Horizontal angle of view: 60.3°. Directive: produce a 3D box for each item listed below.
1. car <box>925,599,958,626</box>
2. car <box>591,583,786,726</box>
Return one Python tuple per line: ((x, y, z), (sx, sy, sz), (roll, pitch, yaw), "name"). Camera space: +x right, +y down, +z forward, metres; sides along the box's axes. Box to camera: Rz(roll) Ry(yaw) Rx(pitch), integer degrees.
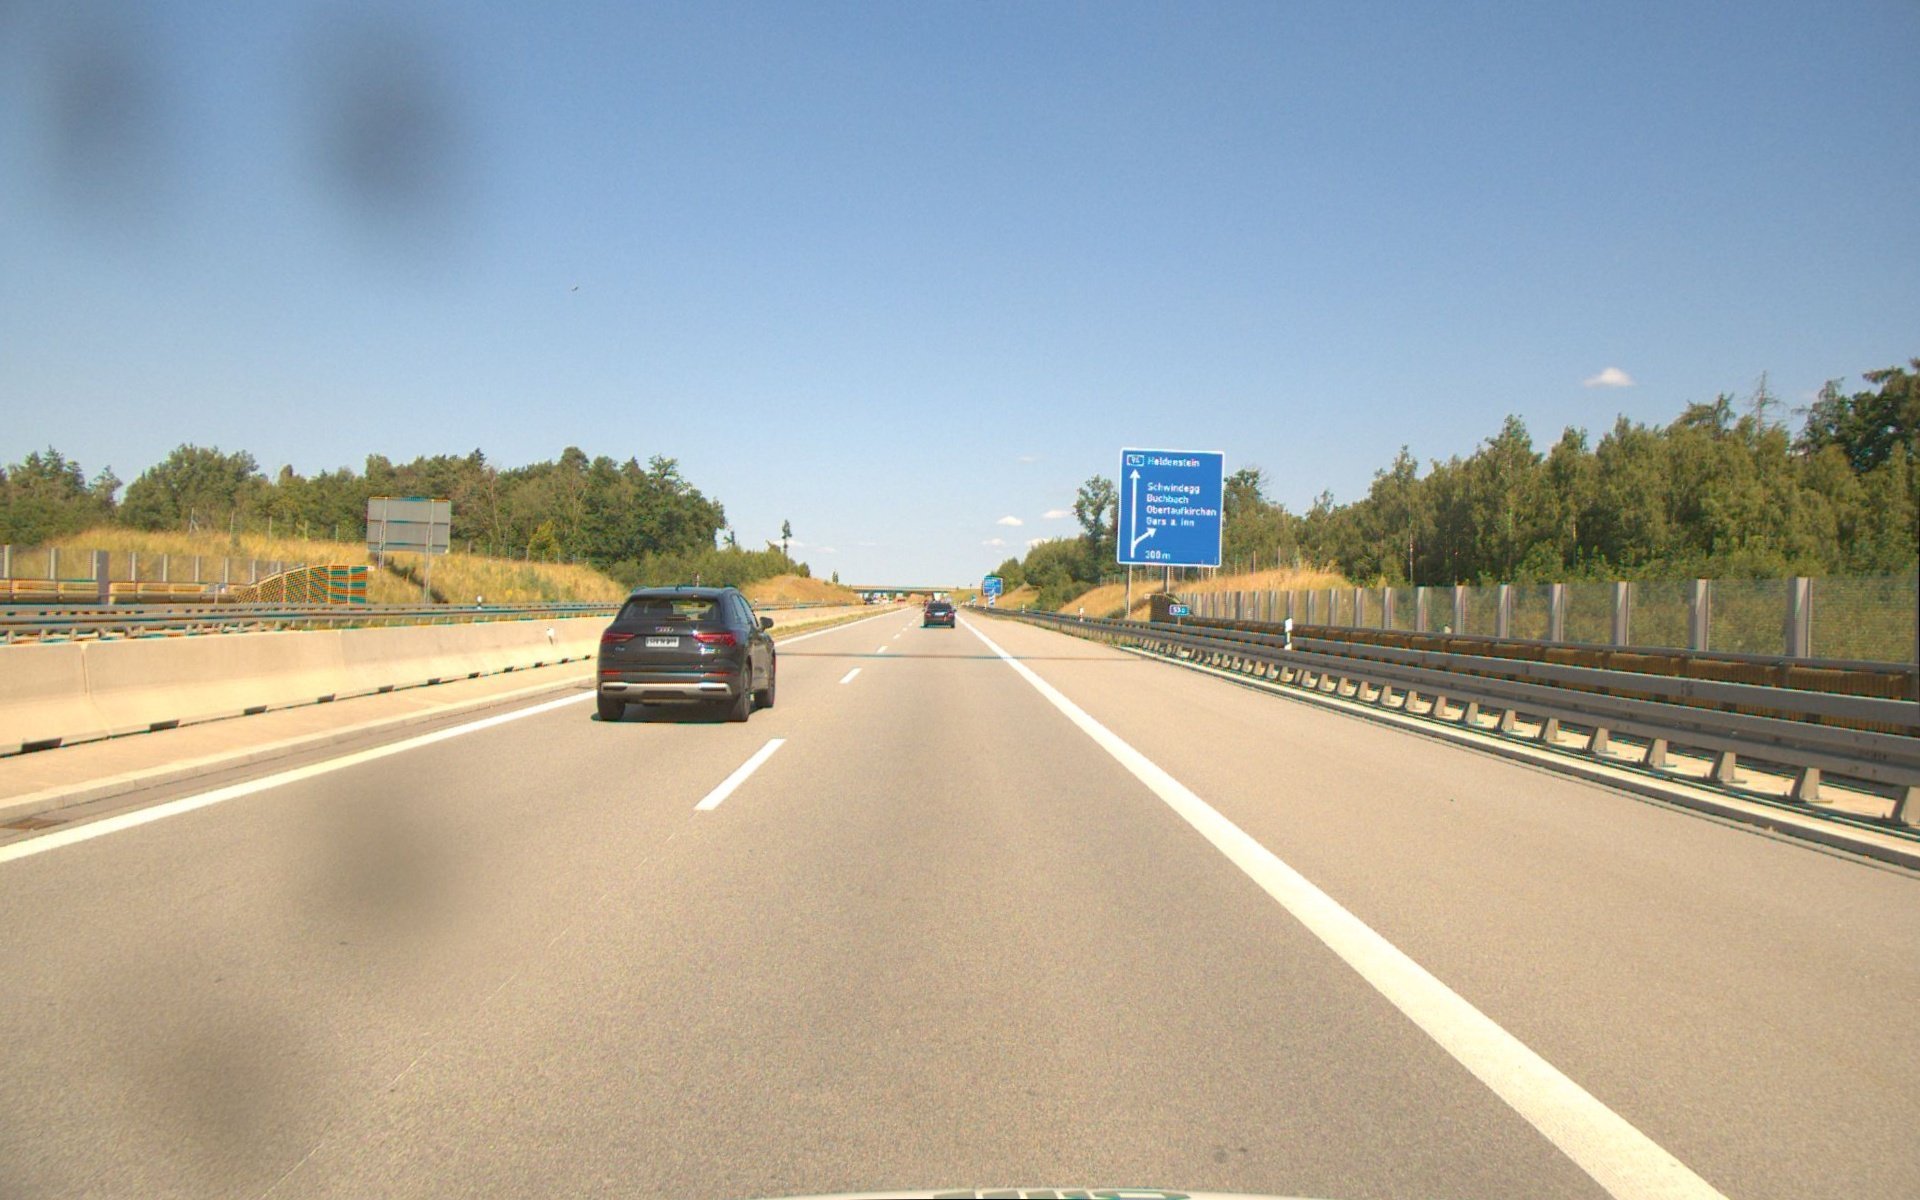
((-1.039, 0.684, 92.561), (1.753, 1.398, 3.916), (1, 0, -1), "car")
((-3.373, 0.620, 21.482), (1.687, 1.615, 5.221), (1, 0, -1), "car")
